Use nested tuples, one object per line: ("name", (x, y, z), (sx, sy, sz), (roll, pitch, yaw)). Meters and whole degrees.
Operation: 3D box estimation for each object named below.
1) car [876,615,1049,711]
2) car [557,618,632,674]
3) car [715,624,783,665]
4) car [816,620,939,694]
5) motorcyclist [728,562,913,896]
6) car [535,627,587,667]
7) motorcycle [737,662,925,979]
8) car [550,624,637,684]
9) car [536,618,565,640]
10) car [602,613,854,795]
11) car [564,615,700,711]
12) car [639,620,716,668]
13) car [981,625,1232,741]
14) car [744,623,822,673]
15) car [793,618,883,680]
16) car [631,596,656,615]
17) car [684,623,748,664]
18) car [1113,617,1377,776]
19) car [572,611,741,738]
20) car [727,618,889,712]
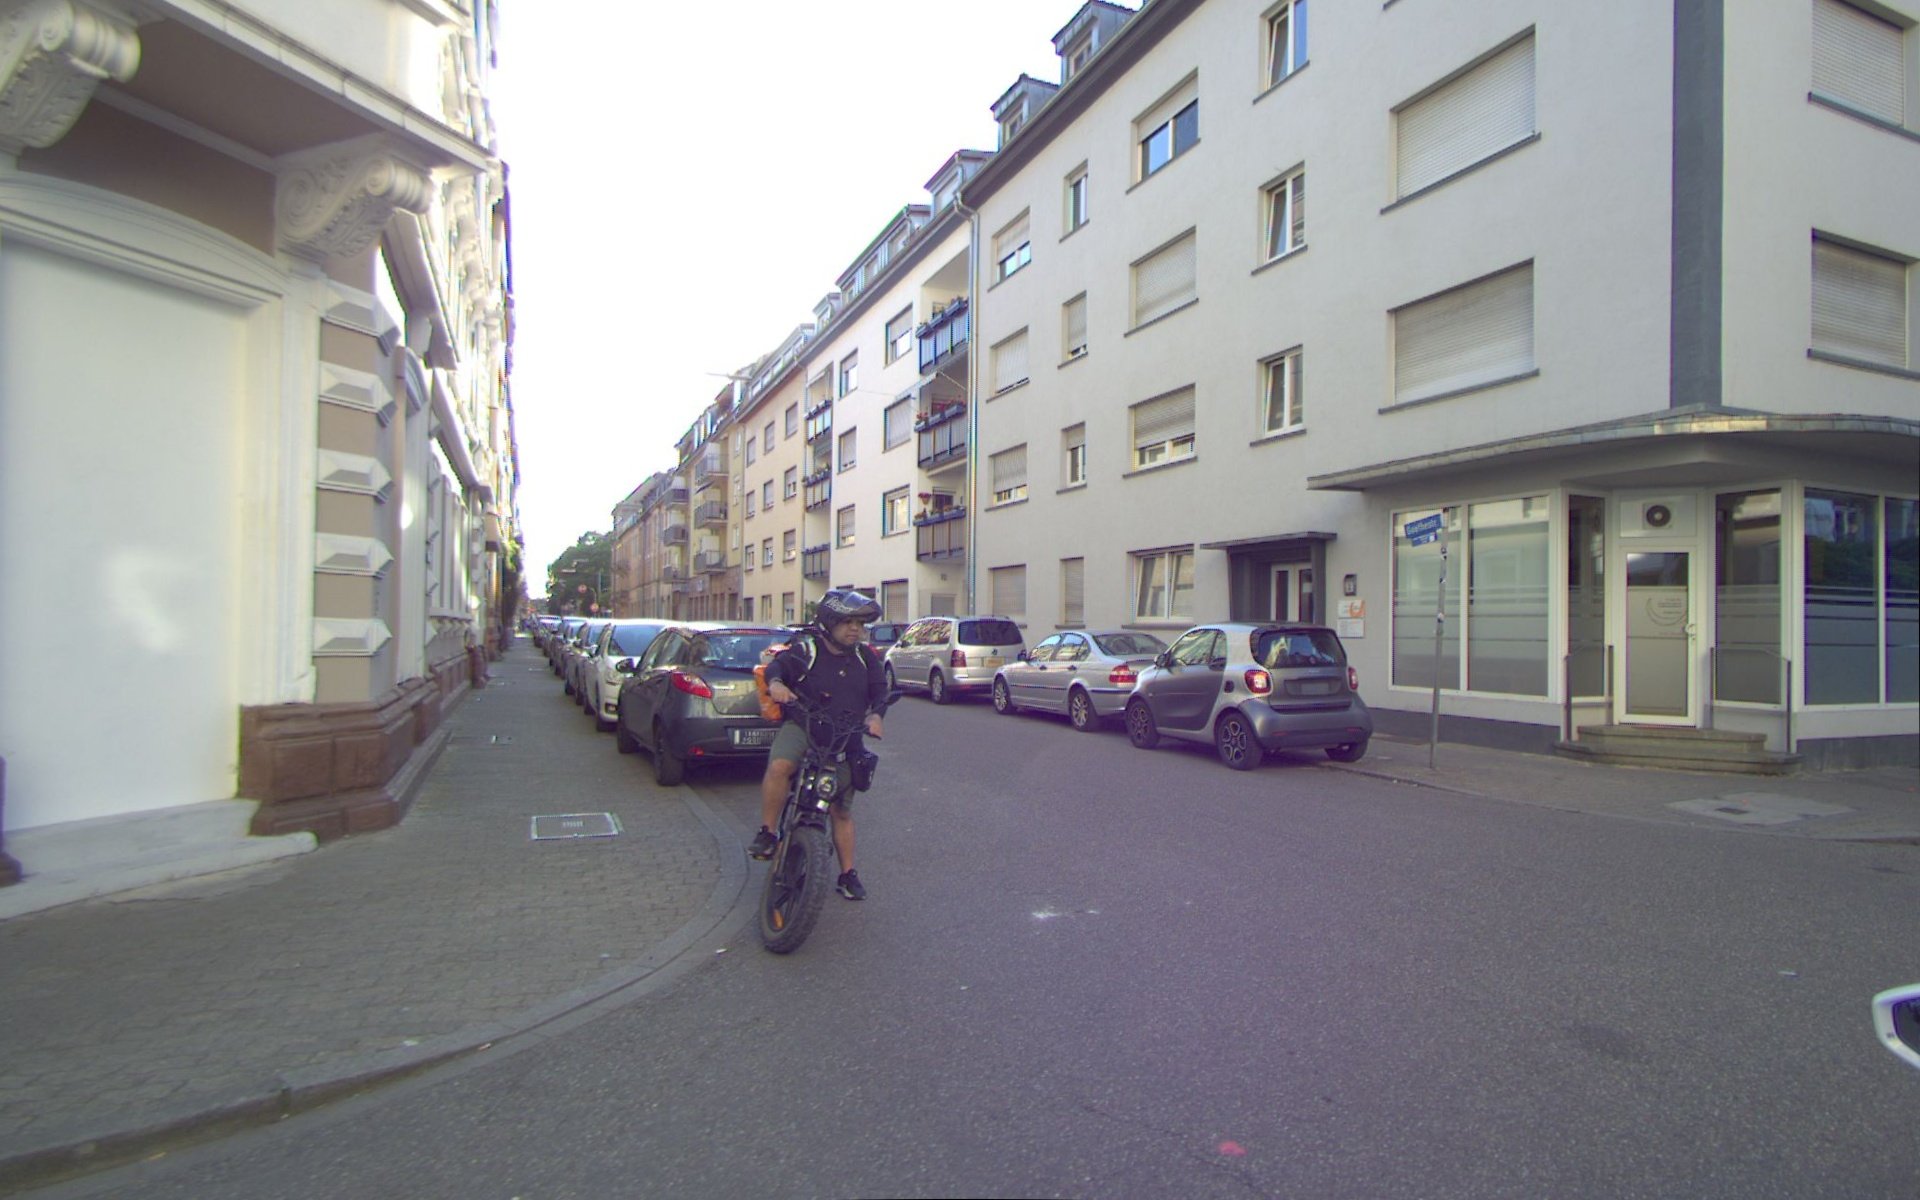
("car", (-0.075, 1.161, 19.975), (1.972, 1.675, 4.069), (1, -1, -24))
("car", (-11.275, 1.368, 30.852), (1.810, 1.581, 4.067), (1, -1, -25))
("car", (-7.972, 1.646, 37.751), (1.608, 1.425, 3.968), (1, -1, -25))
("car", (-2.072, 1.294, 24.027), (1.605, 1.581, 4.067), (1, -1, -25))
("motorcyclist", (-0.777, 0.604, 5.363), (0.860, 1.589, 0.996), (-1, 1, -15))
("car", (-17.280, 1.996, 43.402), (1.810, 1.581, 4.067), (1, -1, -25))
("motorcycle", (-0.755, 1.034, 5.364), (0.793, 1.266, 1.693), (-1, 1, -14))
("car", (-9.646, 1.360, 26.297), (1.811, 1.421, 3.572), (1, -1, -25))
("car", (-31.542, 2.198, 77.335), (1.810, 1.581, 4.067), (1, -1, -25))
("car", (-2.523, 0.900, 10.281), (1.666, 1.499, 3.564), (1, -1, -28))
("car", (-6.279, 1.094, 18.917), (1.982, 1.581, 4.068), (1, -1, -24))
("car", (-9.876, 1.481, 34.882), (1.972, 1.506, 4.637), (1, -1, -23))
("car", (2.075, 1.154, 15.540), (1.940, 1.472, 4.241), (1, -1, -23))
("car", (-5.967, 1.561, 33.570), (1.568, 1.507, 3.958), (1, -1, -25))
("car", (-3.576, 1.365, 29.012), (1.635, 1.666, 3.587), (1, -1, -23))
("car", (-29.677, 0.537, 94.020), (1.970, 1.646, 4.563), (1, -1, -20))
("car", (-10.215, 1.764, 41.815), (1.810, 1.581, 4.067), (1, -1, -25))
("car", (3.199, 1.012, 11.721), (1.624, 1.586, 2.749), (1, -1, -22))
("car", (-4.599, 0.970, 14.803), (1.810, 1.581, 4.067), (1, -1, -25))
("car", (-2.917, 1.100, 18.521), (1.972, 1.506, 3.977), (1, -1, -24))
